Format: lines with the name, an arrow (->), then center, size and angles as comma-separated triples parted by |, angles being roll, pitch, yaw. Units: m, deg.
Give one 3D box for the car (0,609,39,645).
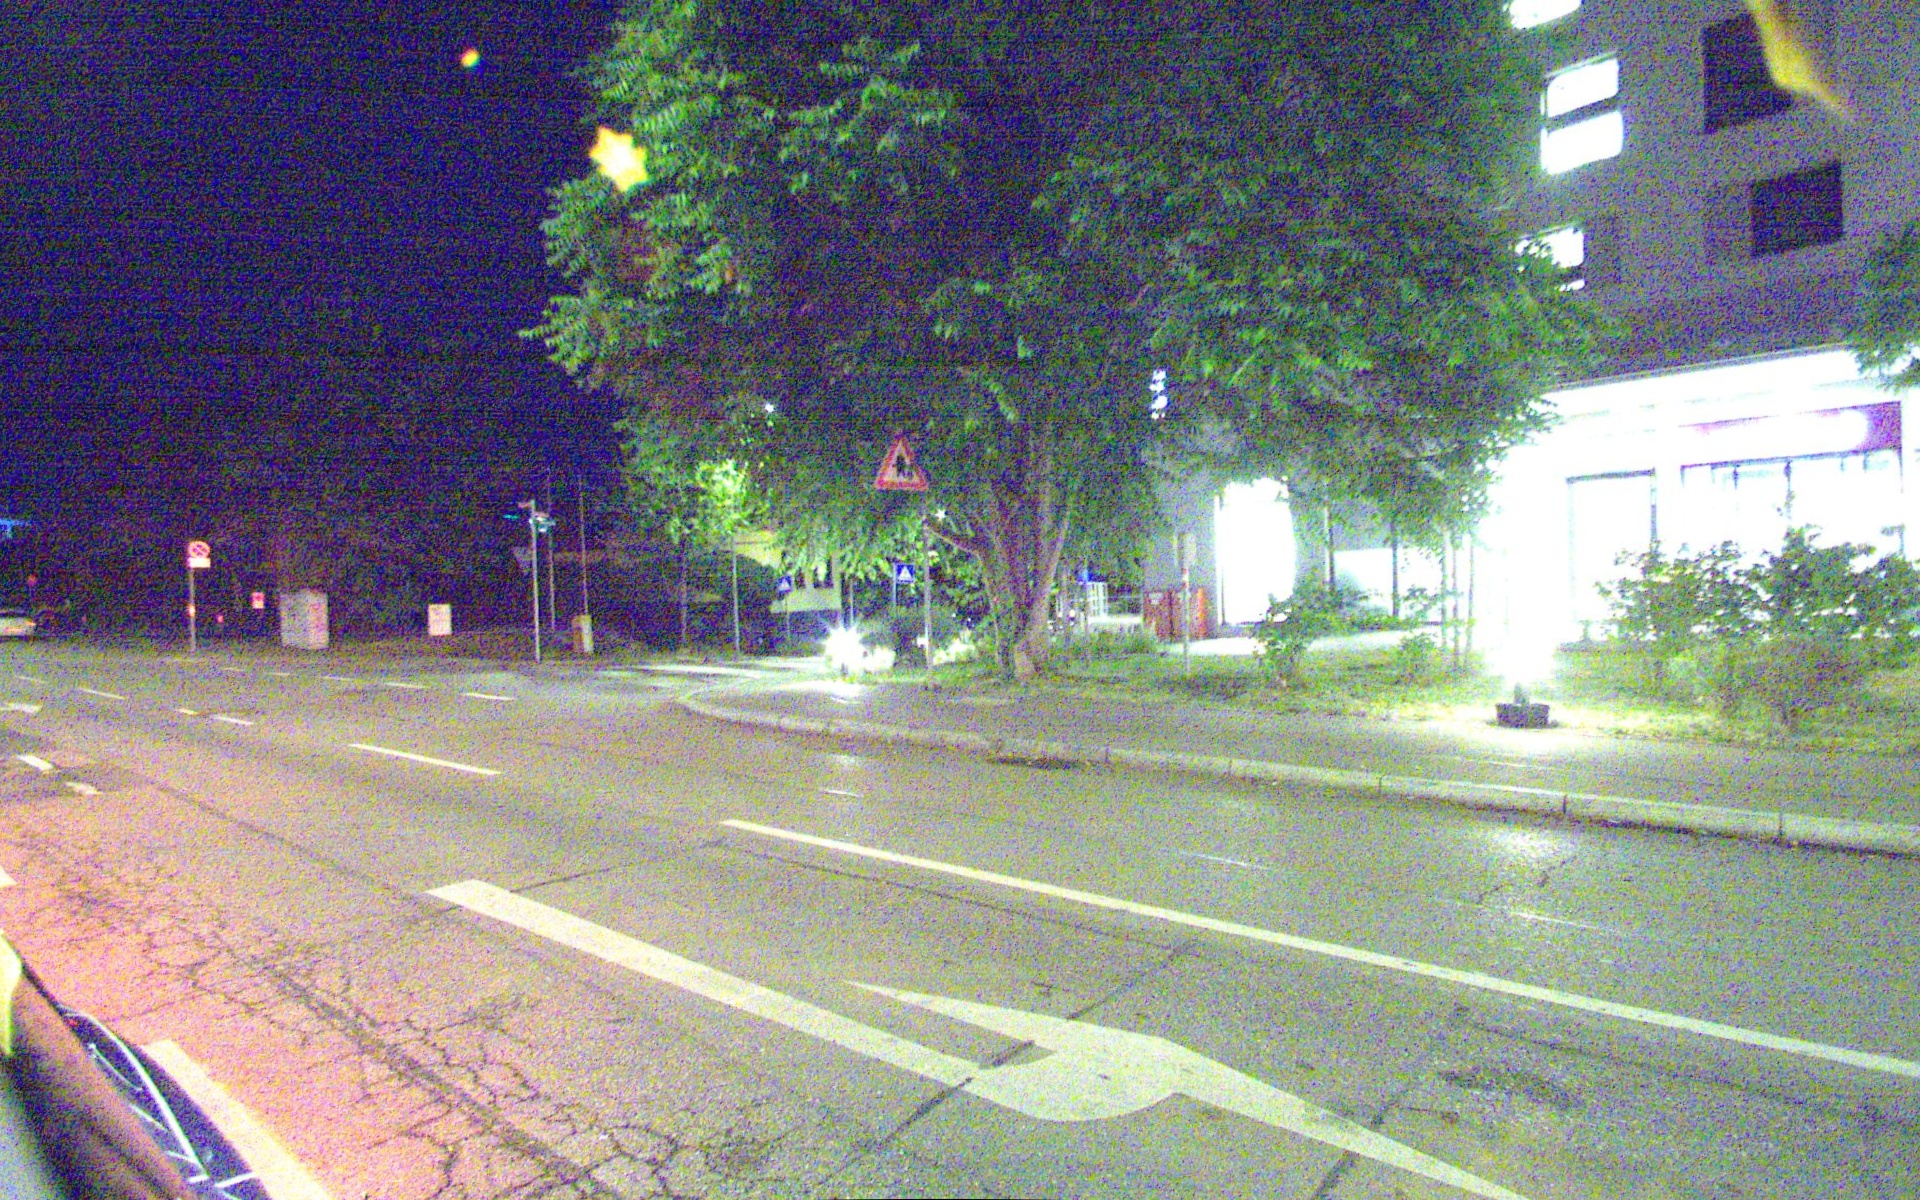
car -> -43.264, 1.218, 45.788 | 3.998, 1.464, 1.887 | 1, 2, 41
